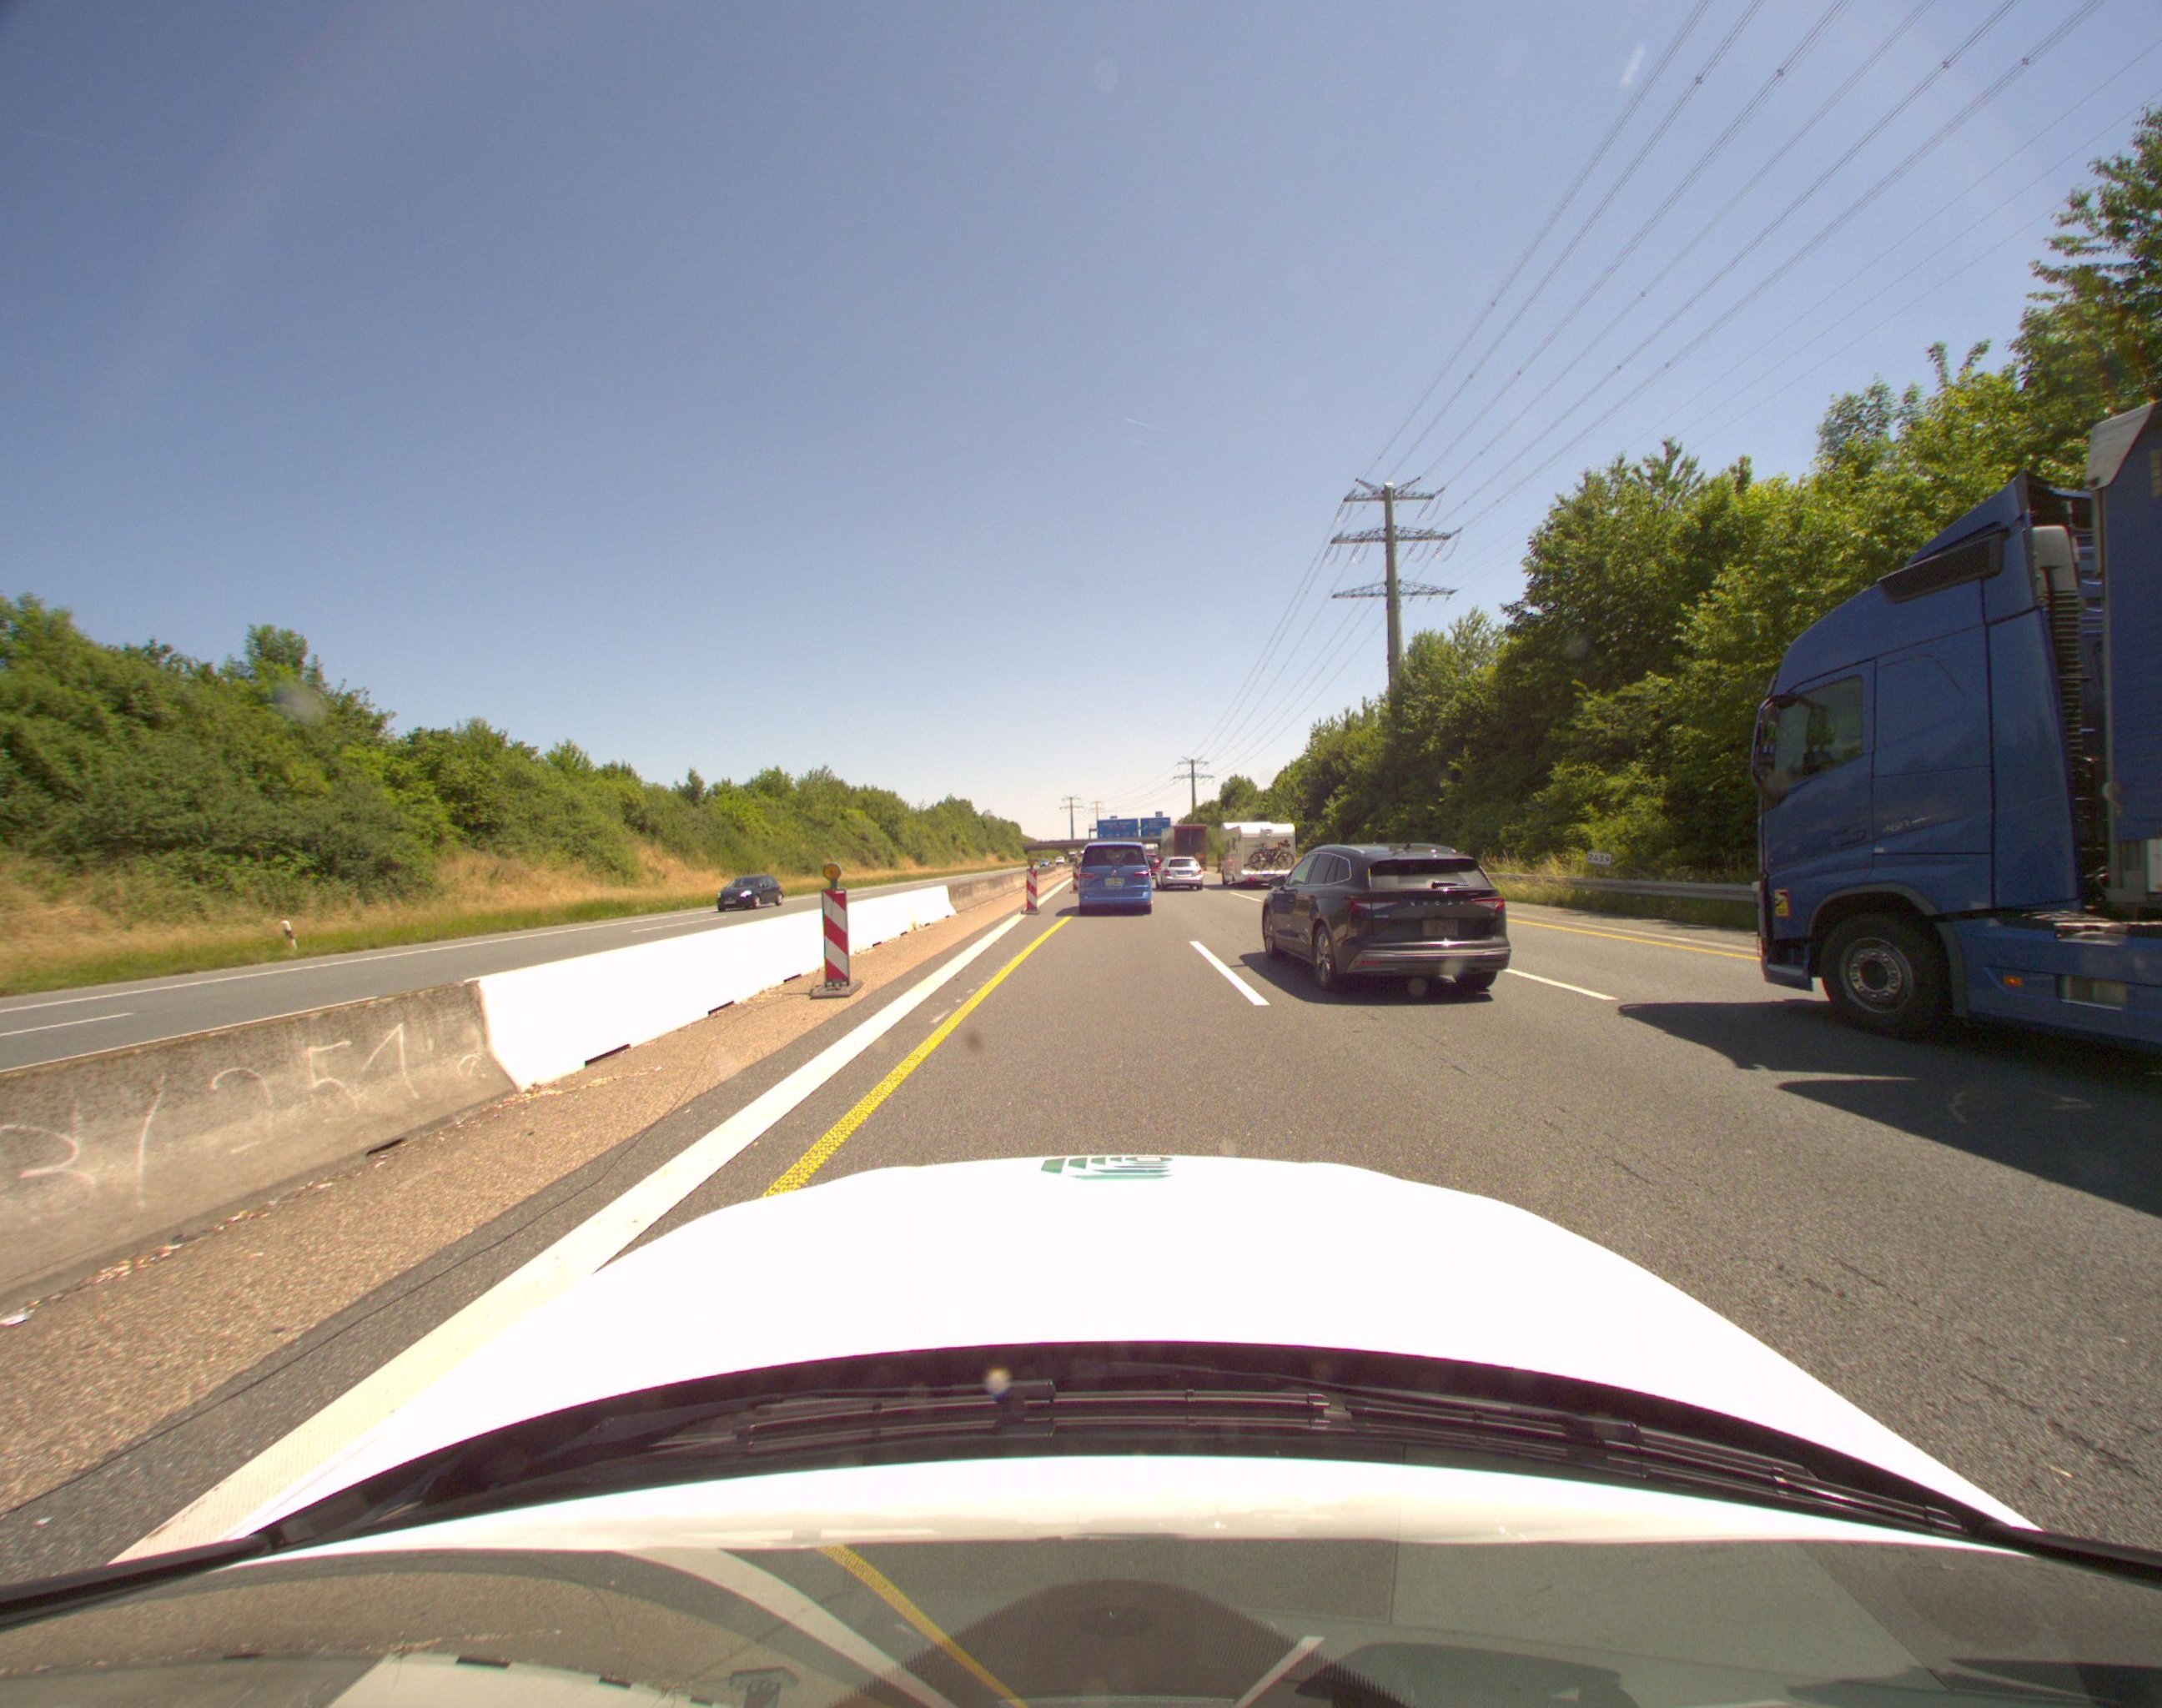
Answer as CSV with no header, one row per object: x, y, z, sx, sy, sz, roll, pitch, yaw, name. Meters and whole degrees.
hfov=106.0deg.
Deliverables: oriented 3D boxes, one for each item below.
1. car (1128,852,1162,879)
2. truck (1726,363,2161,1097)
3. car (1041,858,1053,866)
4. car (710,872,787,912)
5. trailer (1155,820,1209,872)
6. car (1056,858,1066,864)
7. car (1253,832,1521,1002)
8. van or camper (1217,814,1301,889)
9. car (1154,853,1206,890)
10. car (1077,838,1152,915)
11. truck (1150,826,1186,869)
4.133,0.712,53.289,1.868,1.671,4.359,0,0,0,car
7.500,-0.702,4.949,2.775,4.144,5.638,0,0,1,truck
-6.509,1.480,155.733,1.985,1.398,4.003,-3,0,3,car
-14.453,1.610,35.635,1.703,1.464,3.849,-3,0,0,car
8.563,-0.607,70.905,2.775,4.047,13.103,0,0,-1,trailer
-4.840,1.643,196.560,1.985,1.398,4.003,-3,0,3,car
3.453,0.624,10.168,1.695,1.655,4.429,0,0,0,car
7.907,-0.076,37.158,2.360,3.043,7.635,0,0,2,van or camper
4.267,0.716,35.761,1.765,1.517,4.359,0,0,0,car
0.853,0.567,22.468,1.868,1.912,4.359,0,0,0,car
8.319,-0.592,78.377,2.726,4.047,5.789,0,0,-2,truck
